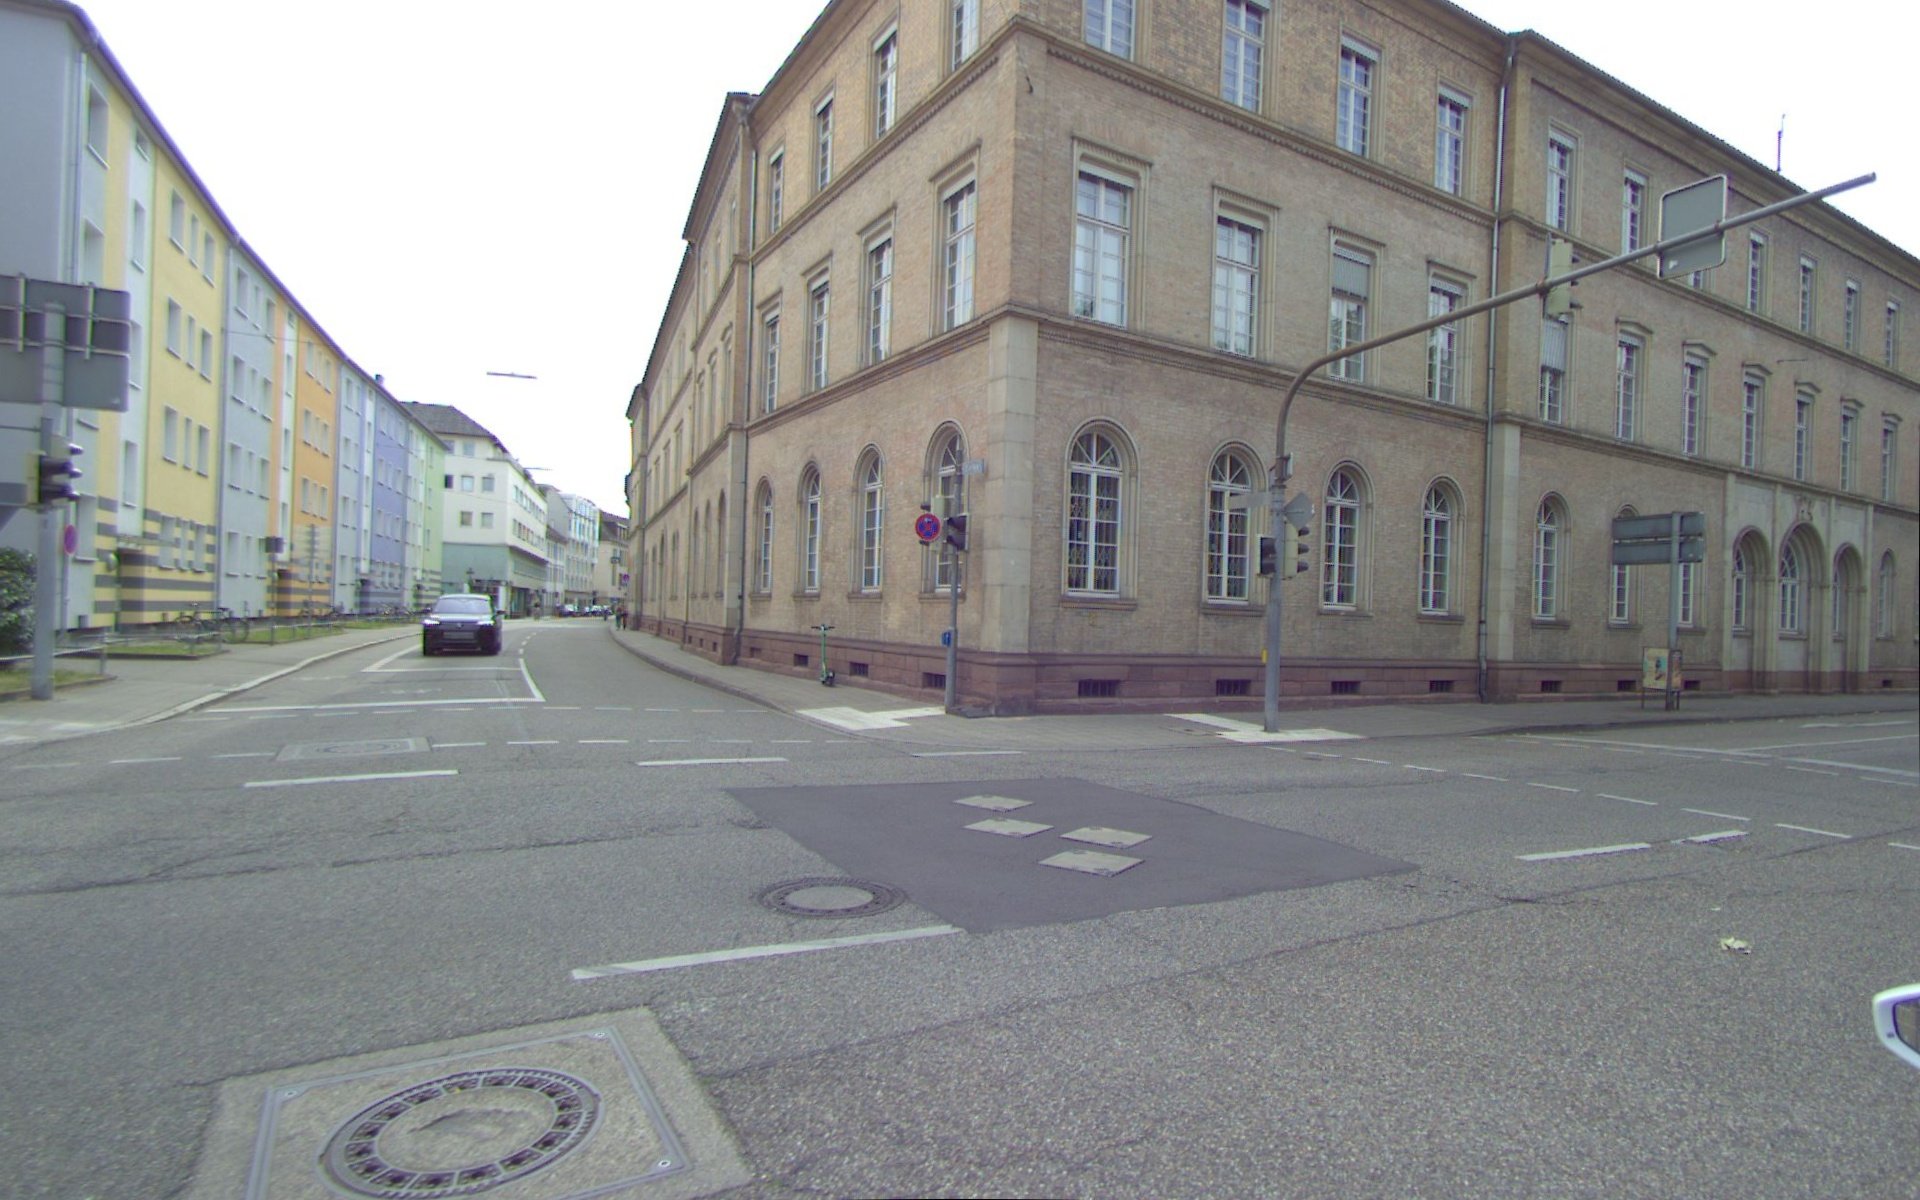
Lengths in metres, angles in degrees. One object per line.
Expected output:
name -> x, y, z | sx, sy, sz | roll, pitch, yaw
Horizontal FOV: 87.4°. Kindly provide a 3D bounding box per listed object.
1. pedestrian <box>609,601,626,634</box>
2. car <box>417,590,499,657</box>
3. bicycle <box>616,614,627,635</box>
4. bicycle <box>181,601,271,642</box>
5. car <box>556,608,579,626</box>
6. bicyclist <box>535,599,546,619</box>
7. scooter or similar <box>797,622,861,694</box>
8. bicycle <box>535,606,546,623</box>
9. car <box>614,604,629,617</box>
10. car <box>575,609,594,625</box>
pedestrian -> -20.437, 1.039, 59.915 | 0.868, 1.962, 0.797 | 2, 1, -19
car -> -13.989, 0.615, 28.149 | 1.873, 1.621, 3.974 | 2, 1, -25
bicycle -> -20.001, 1.427, 59.279 | 0.560, 1.085, 2.256 | 2, 1, -19
bicycle -> -19.685, 0.587, 26.970 | 1.843, 1.025, 0.558 | 2, 1, -27
car -> -47.556, 2.045, 121.689 | 1.966, 2.040, 3.988 | 3, 1, -14
bicyclist -> -34.359, 0.733, 82.272 | 0.679, 1.634, 1.138 | 2, 1, -25
scooter or similar -> -2.578, 1.090, 19.489 | 0.553, 1.180, 2.362 | 2, 1, -24
bicycle -> -34.389, 1.159, 82.292 | 0.679, 1.235, 2.840 | 2, 1, -24
car -> -57.044, 1.716, 169.161 | 1.966, 2.040, 3.989 | 3, 1, -13
car -> -51.851, 2.340, 138.733 | 1.966, 2.040, 3.989 | 3, 1, -13
